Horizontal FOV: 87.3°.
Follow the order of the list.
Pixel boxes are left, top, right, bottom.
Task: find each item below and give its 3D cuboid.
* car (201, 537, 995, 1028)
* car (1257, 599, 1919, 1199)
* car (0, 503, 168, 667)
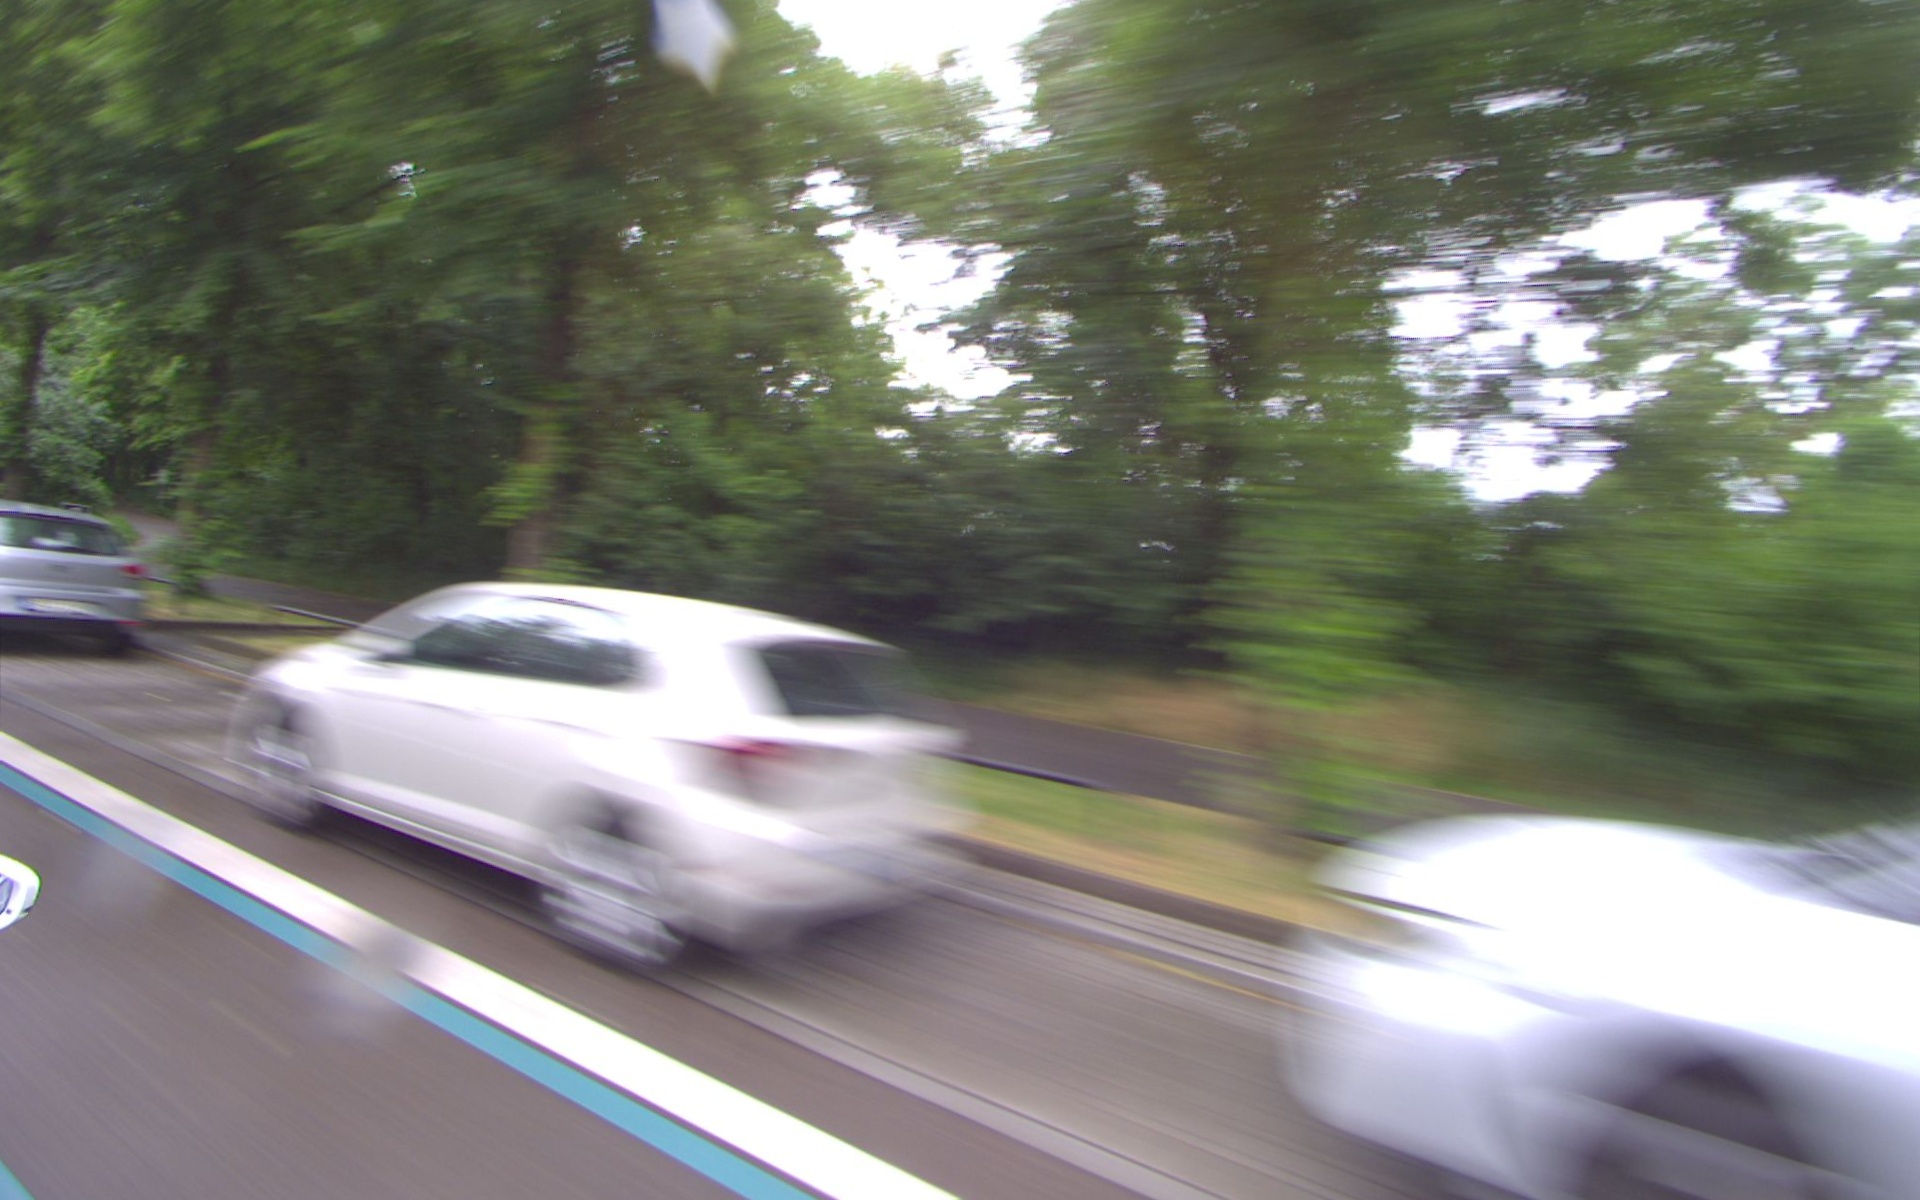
[{"bbox_3d":[-1.993,0.658,5.254,3.880,1.470,1.701,7,-2,31],"label":"car"},{"bbox_3d":[3.256,1.139,2.330,4.485,1.682,1.997,7,-1,30],"label":"car"},{"bbox_3d":[-10.395,-0.316,10.672,4.029,1.470,1.701,7,-2,31],"label":"car"}]
